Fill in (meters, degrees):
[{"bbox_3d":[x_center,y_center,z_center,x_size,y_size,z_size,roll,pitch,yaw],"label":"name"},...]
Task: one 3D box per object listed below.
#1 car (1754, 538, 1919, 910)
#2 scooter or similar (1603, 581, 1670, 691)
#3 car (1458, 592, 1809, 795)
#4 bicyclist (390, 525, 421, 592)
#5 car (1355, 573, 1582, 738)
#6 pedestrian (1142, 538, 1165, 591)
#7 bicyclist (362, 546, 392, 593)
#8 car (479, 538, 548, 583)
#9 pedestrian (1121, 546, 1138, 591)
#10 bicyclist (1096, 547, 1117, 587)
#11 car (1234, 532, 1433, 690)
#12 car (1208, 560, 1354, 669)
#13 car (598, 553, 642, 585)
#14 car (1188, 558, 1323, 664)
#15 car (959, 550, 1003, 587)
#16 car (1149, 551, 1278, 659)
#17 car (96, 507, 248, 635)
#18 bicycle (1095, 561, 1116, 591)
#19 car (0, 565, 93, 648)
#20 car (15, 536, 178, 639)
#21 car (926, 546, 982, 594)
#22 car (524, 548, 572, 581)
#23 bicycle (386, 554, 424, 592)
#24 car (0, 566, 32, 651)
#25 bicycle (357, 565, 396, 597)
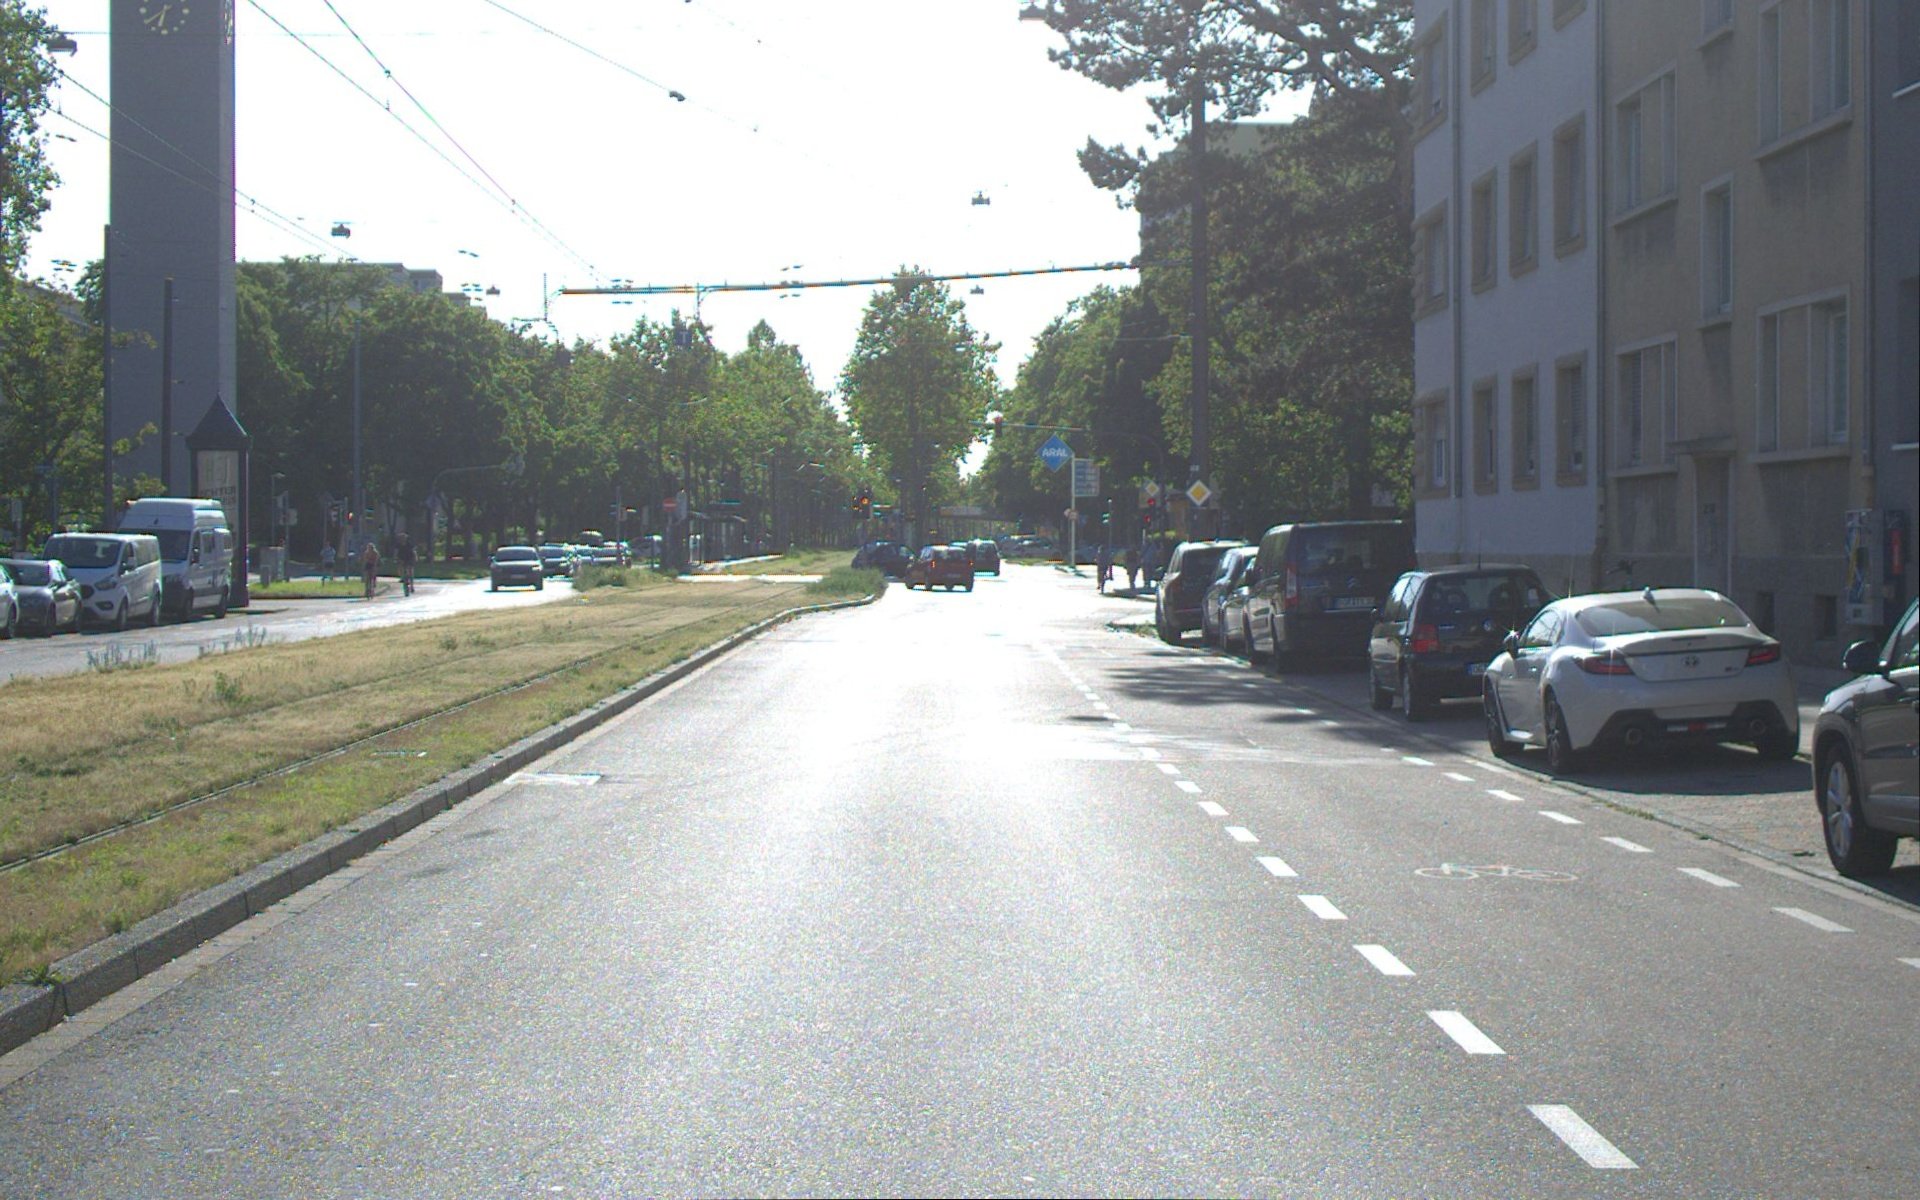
[{"bbox_3d":[5.105,0.543,15.856,1.635,1.642,4.374,-2,1,-3],"label":"car"},{"bbox_3d":[7.988,0.413,40.649,0.458,1.234,1.339,-3,1,0],"label":"scooter or similar"},{"bbox_3d":[5.087,0.654,26.504,1.702,1.271,4.304,-3,1,-1],"label":"car"},{"bbox_3d":[-17.091,-1.275,105.919,0.773,2.007,0.648,3,1,0],"label":"bicyclist"},{"bbox_3d":[5.002,0.506,34.258,1.635,1.449,3.789,-2,1,0],"label":"car"},{"bbox_3d":[6.659,-1.209,118.048,0.703,1.783,0.694,-2,2,5],"label":"pedestrian"},{"bbox_3d":[-17.046,-0.899,100.536,0.773,1.379,0.648,0,1,0],"label":"bicyclist"},{"bbox_3d":[-14.891,-1.331,114.859,1.694,1.443,4.217,-1,1,0],"label":"car"},{"bbox_3d":[5.833,-1.097,118.129,0.529,1.523,0.627,-1,1,5],"label":"pedestrian"},{"bbox_3d":[4.954,-1.113,116.534,0.638,1.318,0.803,3,1,2],"label":"bicyclist"},{"bbox_3d":[4.876,0.090,45.605,1.913,1.893,5.136,-3,1,-1],"label":"car"},{"bbox_3d":[4.672,0.180,50.523,1.510,1.473,4.239,-1,1,-3],"label":"car"},{"bbox_3d":[-16.454,-1.515,166.489,1.687,1.527,4.361,0,1,0],"label":"car"},{"bbox_3d":[4.711,0.141,55.272,1.593,1.573,3.896,-2,1,-3],"label":"car"},{"bbox_3d":[0.984,-1.508,163.968,1.894,1.605,4.501,3,1,-2],"label":"car"},{"bbox_3d":[4.438,0.048,60.791,1.879,1.711,4.934,-3,1,1],"label":"car"},{"bbox_3d":[-18.476,-0.716,80.882,2.032,2.859,6.228,2,1,0],"label":"car"},{"bbox_3d":[4.939,-0.809,116.490,0.648,0.969,1.803,3,1,2],"label":"bicycle"},{"bbox_3d":[-18.365,0.104,67.672,1.694,1.509,4.327,1,1,-3],"label":"car"},{"bbox_3d":[-18.453,-0.310,73.717,2.032,2.014,5.371,3,1,0],"label":"car"},{"bbox_3d":[-0.213,-1.030,116.803,1.694,1.503,3.699,2,1,-3],"label":"car"},{"bbox_3d":[-19.792,-1.715,165.263,1.806,1.528,4.361,0,1,0],"label":"car"},{"bbox_3d":[-17.154,-0.841,106.283,0.768,1.142,2.474,-2,1,0],"label":"bicycle"},{"bbox_3d":[-18.317,0.141,62.236,1.892,1.486,4.704,2,1,-3],"label":"car"},{"bbox_3d":[-17.056,-0.557,100.575,0.768,0.876,2.069,-1,1,0],"label":"bicycle"}]
